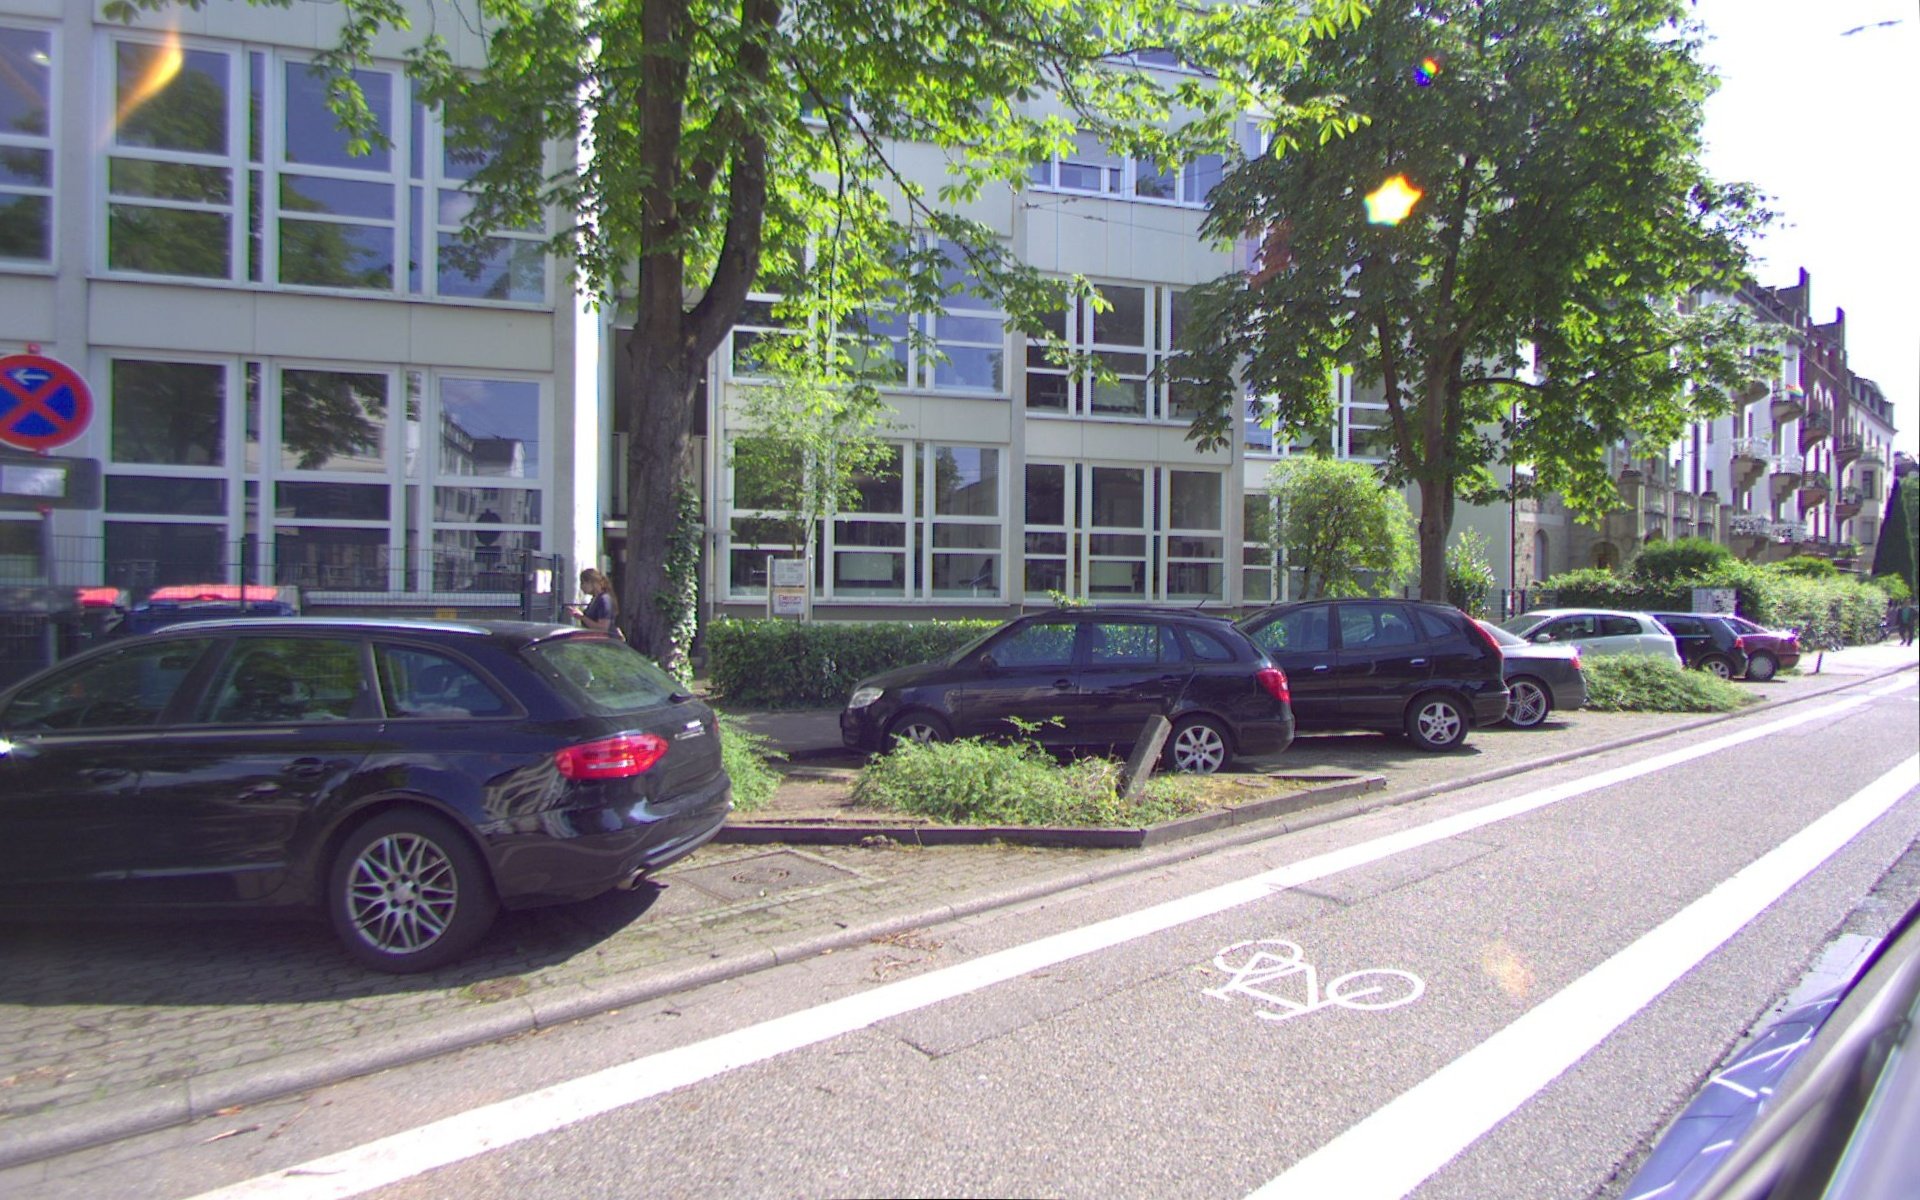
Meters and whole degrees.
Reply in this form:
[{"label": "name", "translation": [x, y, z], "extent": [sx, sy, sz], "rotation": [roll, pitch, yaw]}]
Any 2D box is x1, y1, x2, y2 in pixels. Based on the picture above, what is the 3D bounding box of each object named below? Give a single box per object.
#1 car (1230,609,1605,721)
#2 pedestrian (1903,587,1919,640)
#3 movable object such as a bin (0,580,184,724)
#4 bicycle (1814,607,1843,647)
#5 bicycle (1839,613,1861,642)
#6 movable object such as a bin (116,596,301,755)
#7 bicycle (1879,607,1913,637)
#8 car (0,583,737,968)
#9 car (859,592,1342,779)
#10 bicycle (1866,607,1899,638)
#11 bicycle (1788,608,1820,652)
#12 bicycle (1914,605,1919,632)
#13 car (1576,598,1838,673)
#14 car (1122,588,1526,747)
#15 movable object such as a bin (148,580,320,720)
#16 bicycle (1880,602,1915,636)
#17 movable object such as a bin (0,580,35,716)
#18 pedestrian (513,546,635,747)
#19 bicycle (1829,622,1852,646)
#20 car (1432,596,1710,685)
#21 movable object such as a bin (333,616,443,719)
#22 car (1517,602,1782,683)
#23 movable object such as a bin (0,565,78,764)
[{"label": "car", "translation": [5.874, 0.816, 13.465], "extent": [4.102, 1.366, 1.902], "rotation": [0, -1, 5]}, {"label": "pedestrian", "translation": [34.748, 0.484, 36.641], "extent": [0.788, 1.884, 0.571], "rotation": [4, 3, 43]}, {"label": "movable object such as a bin", "translation": [-9.622, 0.532, 11.105], "extent": [1.422, 1.474, 1.212], "rotation": [-1, 0, -17]}, {"label": "bicycle", "translation": [25.902, 0.792, 30.176], "extent": [1.975, 1.122, 0.280], "rotation": [0, 4, -41]}, {"label": "bicycle", "translation": [29.110, 0.908, 33.098], "extent": [1.638, 0.918, 0.274], "rotation": [2, 2, -41]}, {"label": "movable object such as a bin", "translation": [-6.984, 0.633, 9.403], "extent": [1.302, 1.335, 1.277], "rotation": [0, 0, -40]}, {"label": "bicycle", "translation": [34.404, 0.802, 37.196], "extent": [2.321, 1.008, 0.612], "rotation": [0, 4, -41]}, {"label": "car", "translation": [-3.598, 0.714, 5.065], "extent": [4.456, 1.460, 2.029], "rotation": [-1, -1, 5]}, {"label": "car", "translation": [1.214, 0.717, 9.376], "extent": [4.004, 1.462, 1.723], "rotation": [1, -2, 6]}, {"label": "bicycle", "translation": [32.571, 0.788, 35.714], "extent": [1.839, 1.001, 0.613], "rotation": [0, 3, -41]}, {"label": "bicycle", "translation": [23.290, 0.810, 27.911], "extent": [1.975, 1.122, 0.280], "rotation": [0, 4, -41]}, {"label": "bicycle", "translation": [41.704, 0.796, 43.724], "extent": [1.811, 1.136, 0.452], "rotation": [1, 2, -40]}, {"label": "car", "translation": [15.924, 0.719, 21.779], "extent": [4.090, 1.441, 1.863], "rotation": [1, 1, 8]}, {"label": "car", "translation": [3.845, 0.702, 11.393], "extent": [3.933, 1.595, 1.900], "rotation": [-1, -1, 9]}, {"label": "movable object such as a bin", "translation": [-8.238, 0.527, 11.584], "extent": [1.237, 1.465, 1.383], "rotation": [1, 2, -19]}, {"label": "bicycle", "translation": [36.768, 0.728, 39.686], "extent": [2.472, 1.246, 0.741], "rotation": [0, 1, -41]}, {"label": "movable object such as a bin", "translation": [-11.067, 0.530, 10.849], "extent": [1.237, 1.465, 1.383], "rotation": [1, 2, -19]}, {"label": "pedestrian", "translation": [-3.872, 0.434, 10.145], "extent": [0.983, 1.897, 0.763], "rotation": [0, 0, -35]}, {"label": "bicycle", "translation": [27.317, 1.042, 31.407], "extent": [1.532, 0.685, 0.280], "rotation": [0, 4, -41]}, {"label": "car", "translation": [10.718, 0.682, 17.961], "extent": [3.929, 1.479, 1.534], "rotation": [0, 0, 5]}, {"label": "movable object such as a bin", "translation": [-6.793, 0.782, 12.073], "extent": [0.910, 1.103, 1.037], "rotation": [1, 3, -15]}, {"label": "car", "translation": [13.418, 0.794, 19.918], "extent": [3.932, 1.467, 1.696], "rotation": [0, 0, 8]}, {"label": "movable object such as a bin", "translation": [-8.154, 0.507, 8.228], "extent": [1.443, 1.558, 1.277], "rotation": [0, 0, -40]}]
